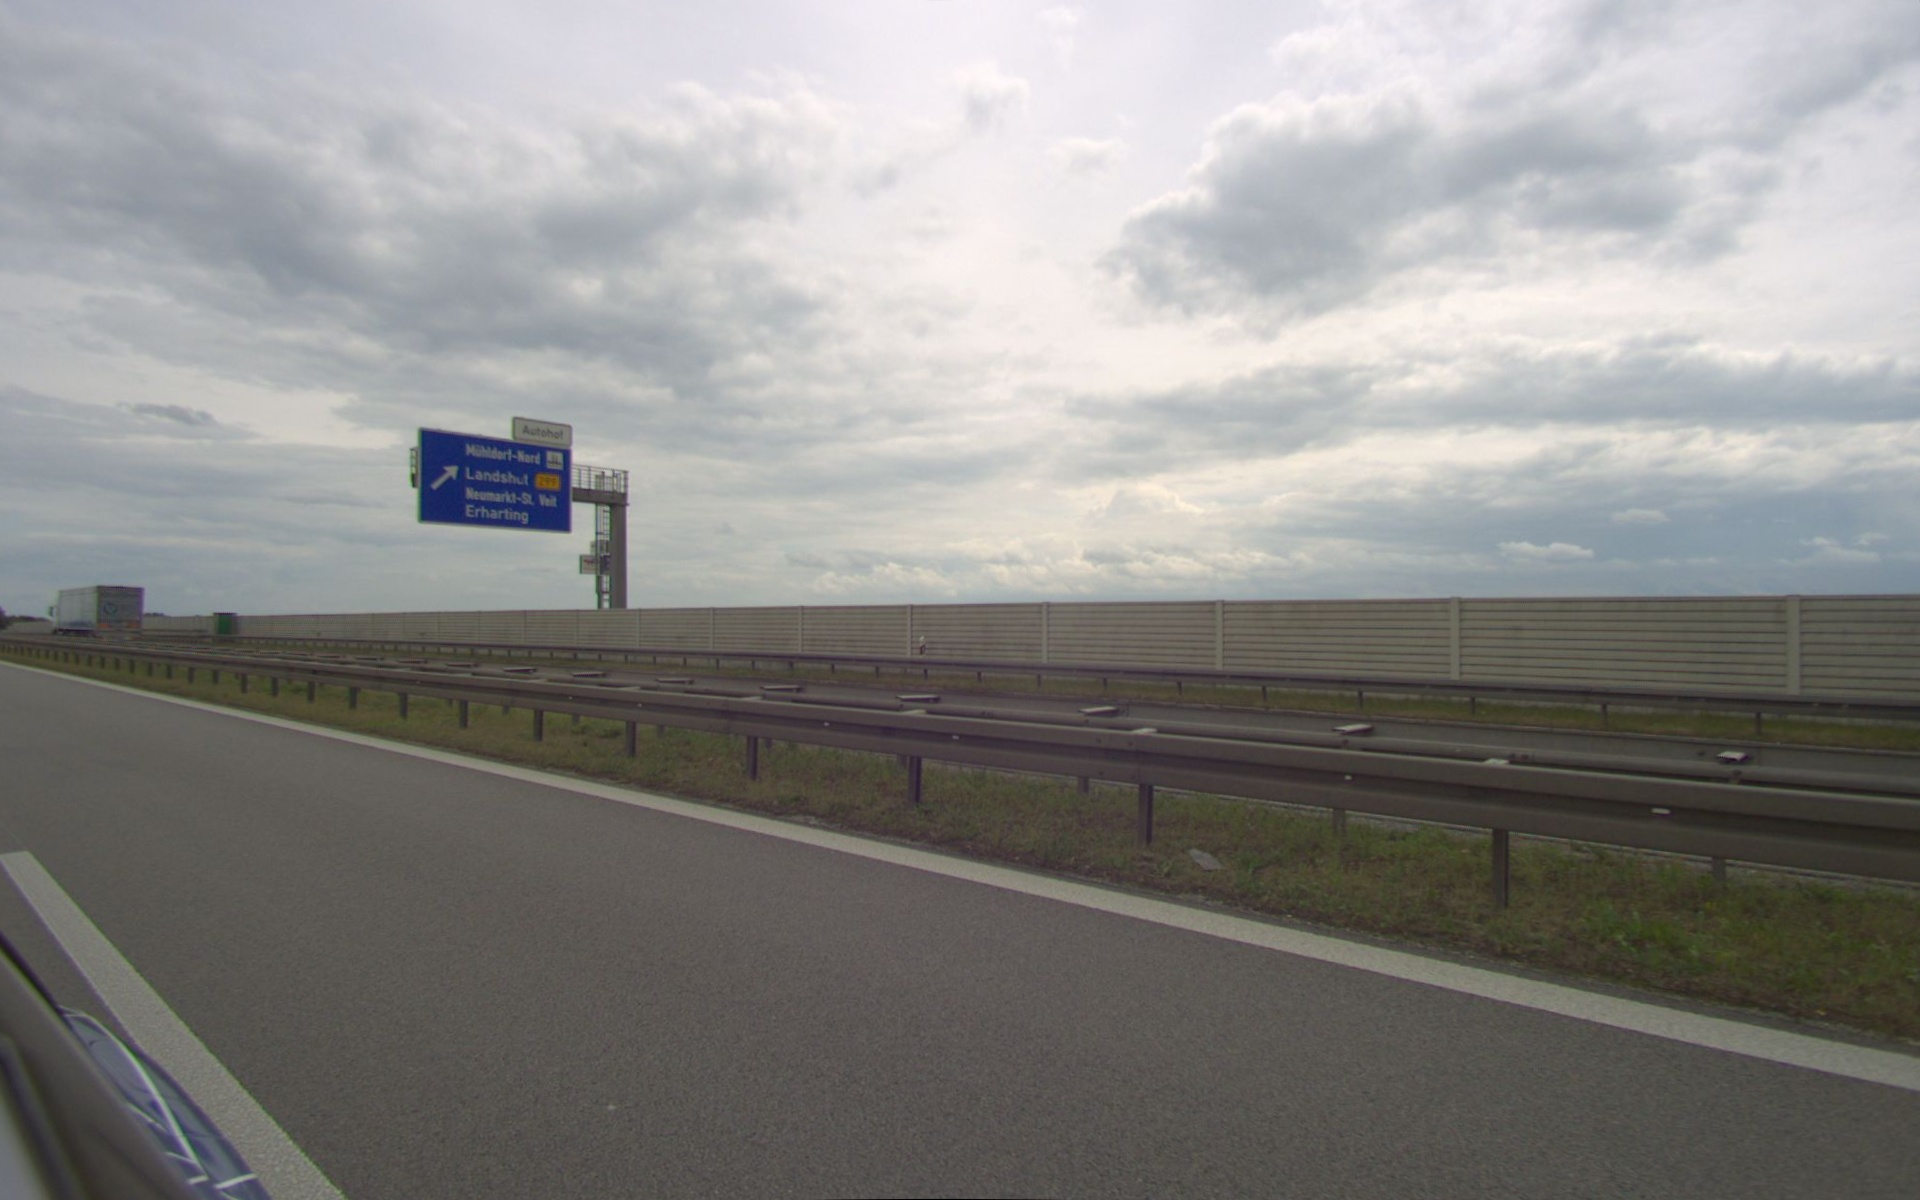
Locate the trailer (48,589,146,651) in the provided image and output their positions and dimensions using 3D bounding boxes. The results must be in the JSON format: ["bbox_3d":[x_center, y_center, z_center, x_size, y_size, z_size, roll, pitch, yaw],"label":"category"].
[{"bbox_3d":[-62.066,1.517,72.599,14.015,4.107,3.146,-1,-4,41],"label":"trailer"}]

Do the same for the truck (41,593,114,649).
[{"bbox_3d":[-67.097,1.624,76.896,7.319,4.045,3.077,-1,-4,41],"label":"truck"}]
